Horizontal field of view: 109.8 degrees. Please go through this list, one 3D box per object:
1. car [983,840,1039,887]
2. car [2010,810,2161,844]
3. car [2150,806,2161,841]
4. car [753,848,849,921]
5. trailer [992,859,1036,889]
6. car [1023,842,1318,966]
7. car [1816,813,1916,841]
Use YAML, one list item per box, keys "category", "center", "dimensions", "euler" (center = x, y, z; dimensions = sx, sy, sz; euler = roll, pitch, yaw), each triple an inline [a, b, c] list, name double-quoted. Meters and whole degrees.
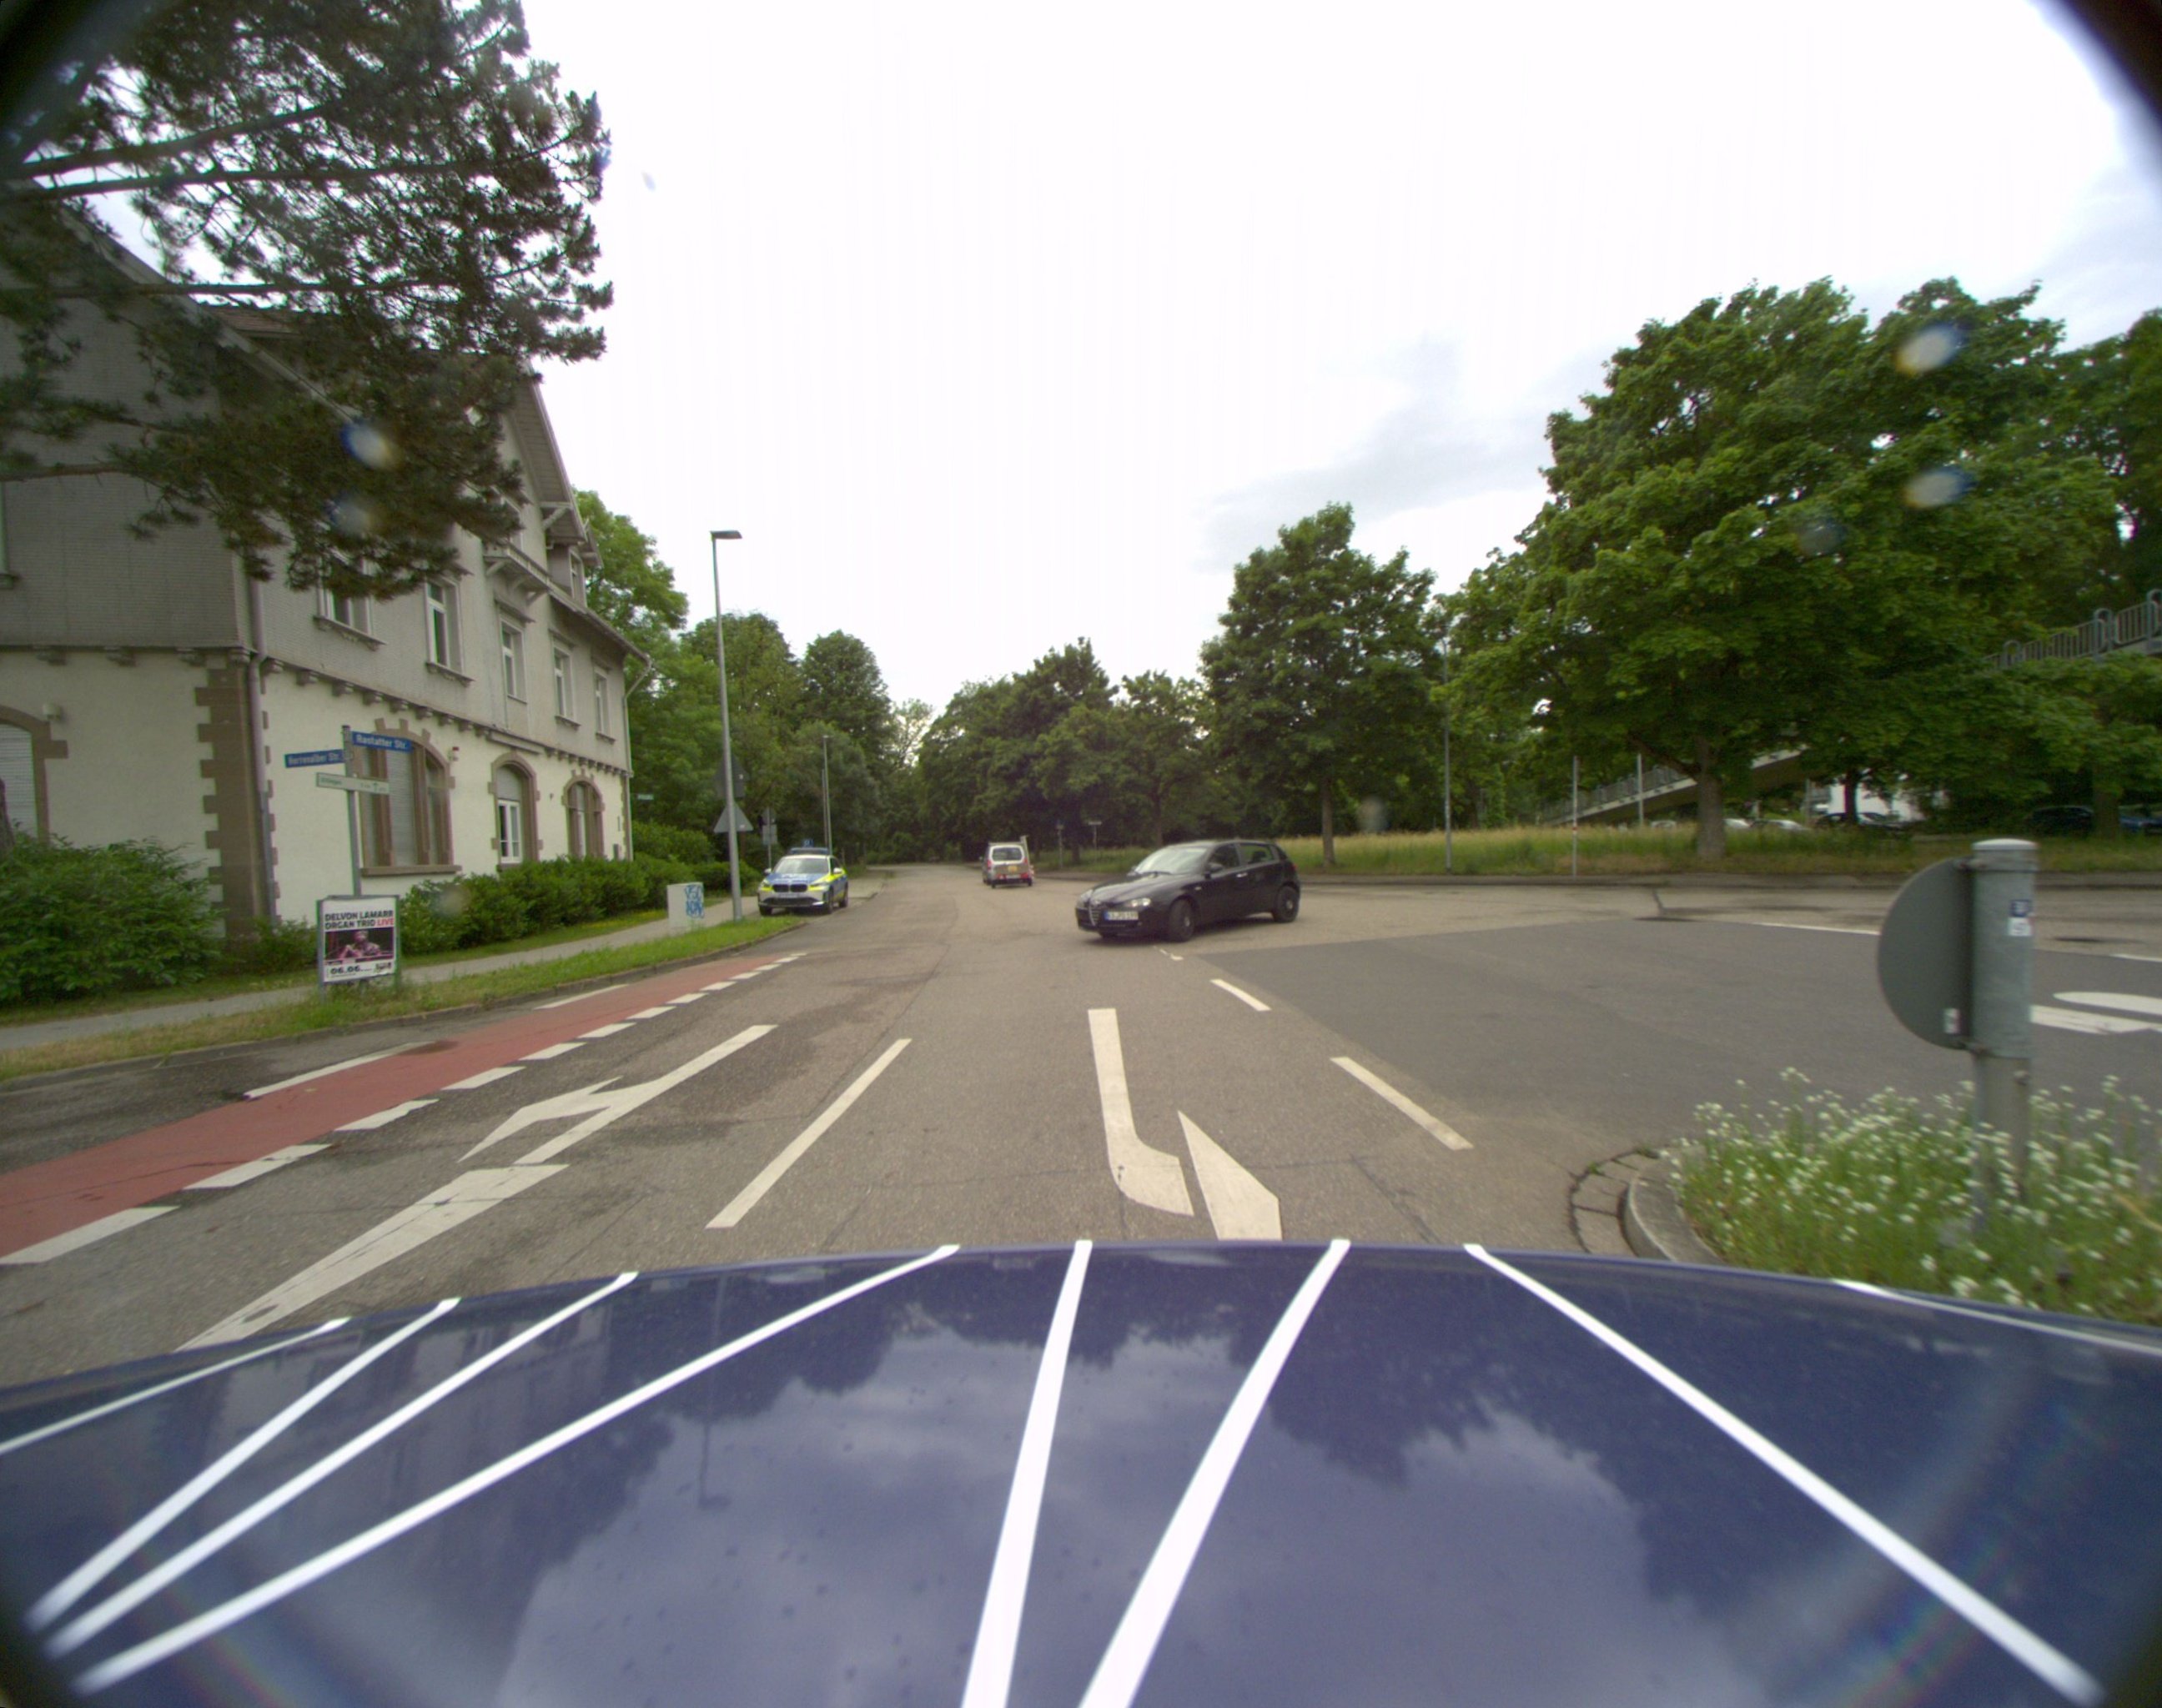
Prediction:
- category: "car"
  center: [-3.200, 0.385, 34.036]
  dimensions: [2.095, 1.847, 4.217]
  euler: [-4, 1, -9]
- category: "car"
  center: [40.224, -1.055, 30.396]
  dimensions: [1.692, 1.231, 4.002]
  euler: [-2, 1, 10]
- category: "car"
  center: [39.470, -1.087, 25.583]
  dimensions: [1.692, 1.240, 4.002]
  euler: [-2, 1, 10]
- category: "car"
  center: [-7.735, 0.762, 21.349]
  dimensions: [1.937, 1.839, 3.995]
  euler: [-1, 1, -12]
- category: "trailer"
  center: [-2.739, 0.778, 30.369]
  dimensions: [1.572, 0.980, 3.462]
  euler: [-3, 1, -7]
- category: "car"
  center: [1.522, 0.631, 11.861]
  dimensions: [4.548, 1.449, 1.799]
  euler: [-3, 1, -37]
- category: "car"
  center: [41.584, -1.389, 40.377]
  dimensions: [1.692, 1.343, 4.002]
  euler: [-2, 1, 10]
